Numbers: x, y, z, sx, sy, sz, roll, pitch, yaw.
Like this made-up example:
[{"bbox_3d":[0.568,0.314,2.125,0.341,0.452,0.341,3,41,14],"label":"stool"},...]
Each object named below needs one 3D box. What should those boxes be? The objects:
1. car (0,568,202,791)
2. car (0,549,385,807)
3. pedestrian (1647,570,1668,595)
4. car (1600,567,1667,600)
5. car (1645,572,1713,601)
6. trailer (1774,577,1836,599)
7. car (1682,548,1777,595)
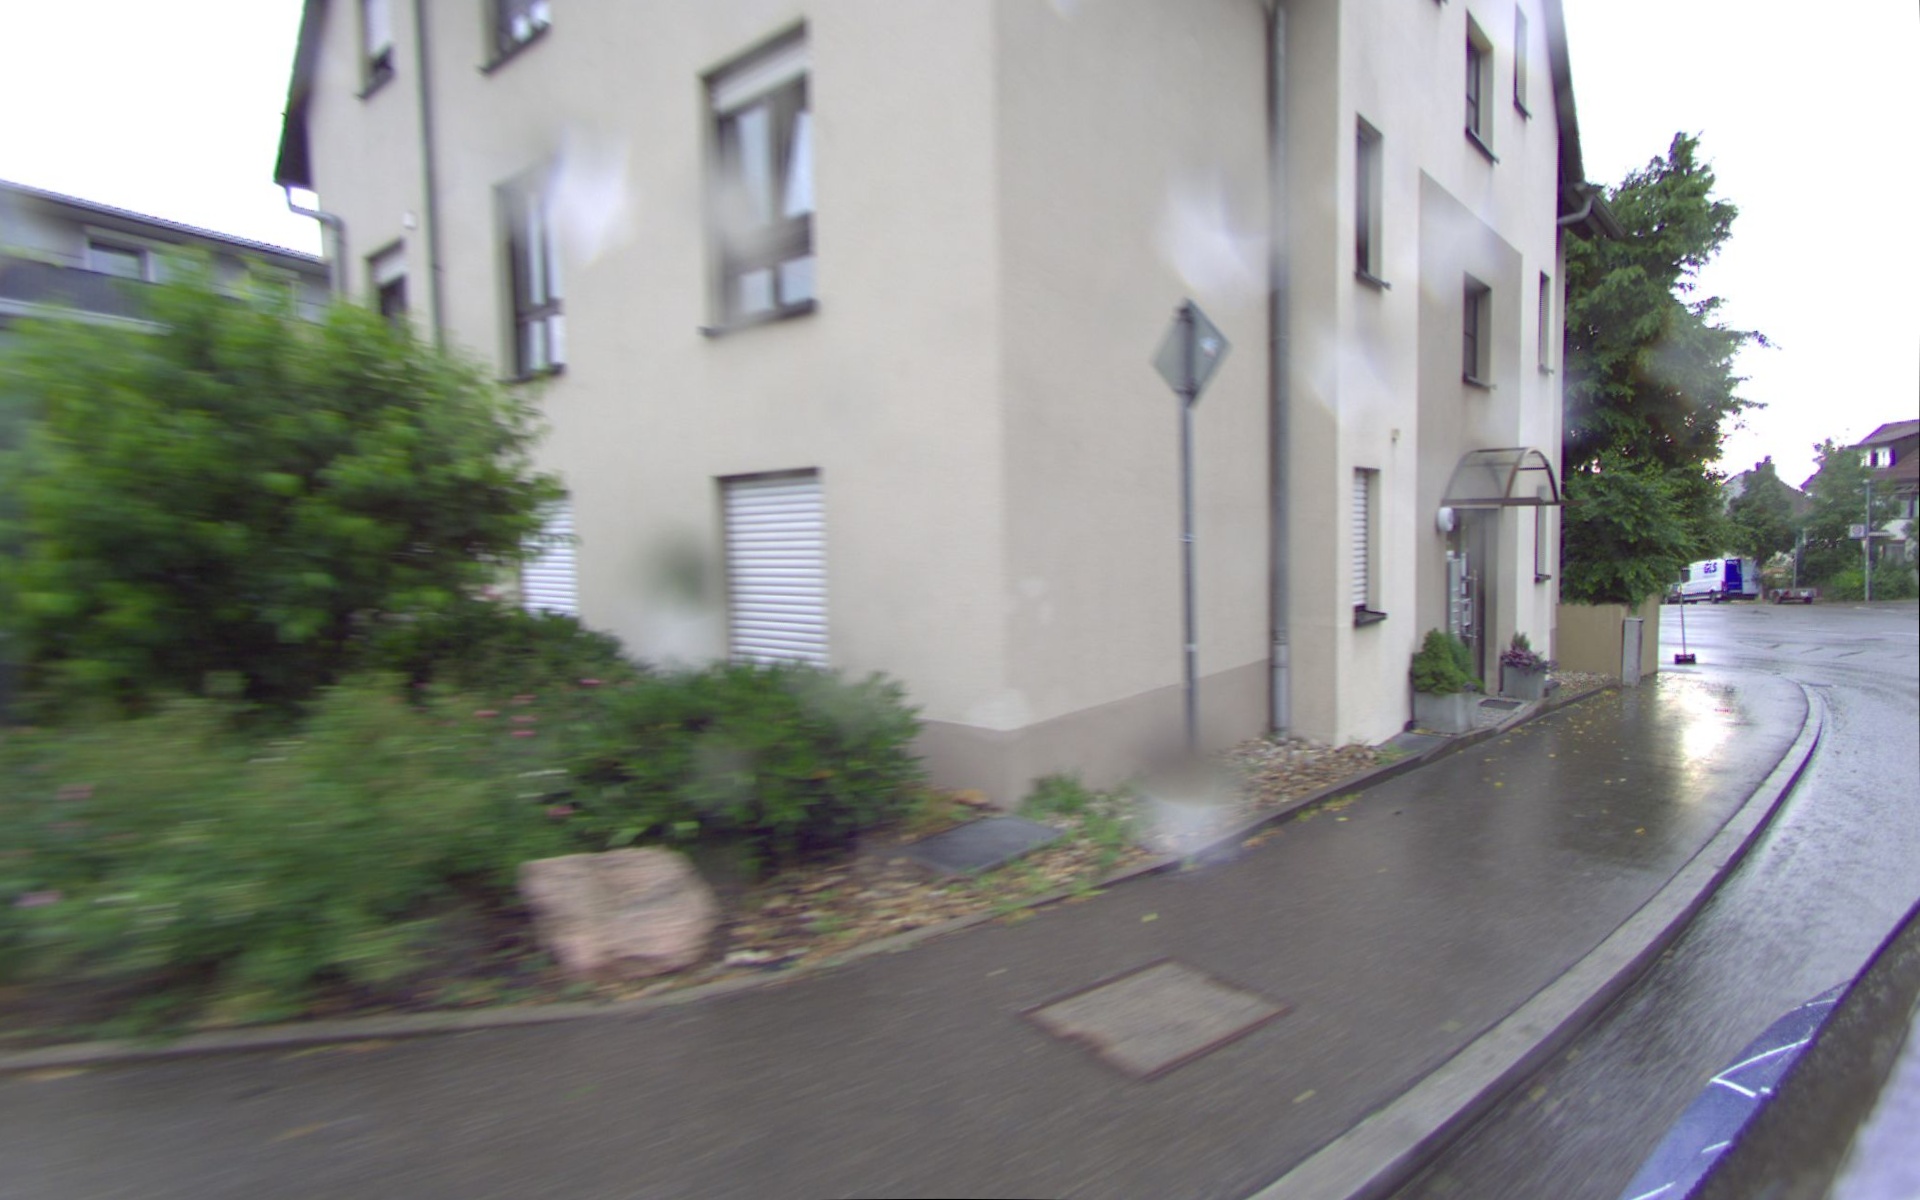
[{"bbox_3d":[-7.606,0.597,7.346,1.592,1.558,2.961,-2,1,30],"label":"car"},{"bbox_3d":[-5.644,0.419,6.427,1.759,1.389,2.961,-2,1,30],"label":"car"},{"bbox_3d":[44.438,-1.110,64.482,0.816,1.528,0.970,-2,1,22],"label":"pedestrian"},{"bbox_3d":[39.303,-0.981,59.194,2.041,1.727,4.765,-2,1,19],"label":"car"},{"bbox_3d":[46.914,-0.912,66.118,2.038,1.727,4.772,-2,1,15],"label":"car"},{"bbox_3d":[43.353,-0.631,51.987,1.574,1.019,2.803,-3,0,22],"label":"trailer"},{"bbox_3d":[45.026,-1.679,59.425,2.160,2.554,6.225,-2,1,15],"label":"car"}]
